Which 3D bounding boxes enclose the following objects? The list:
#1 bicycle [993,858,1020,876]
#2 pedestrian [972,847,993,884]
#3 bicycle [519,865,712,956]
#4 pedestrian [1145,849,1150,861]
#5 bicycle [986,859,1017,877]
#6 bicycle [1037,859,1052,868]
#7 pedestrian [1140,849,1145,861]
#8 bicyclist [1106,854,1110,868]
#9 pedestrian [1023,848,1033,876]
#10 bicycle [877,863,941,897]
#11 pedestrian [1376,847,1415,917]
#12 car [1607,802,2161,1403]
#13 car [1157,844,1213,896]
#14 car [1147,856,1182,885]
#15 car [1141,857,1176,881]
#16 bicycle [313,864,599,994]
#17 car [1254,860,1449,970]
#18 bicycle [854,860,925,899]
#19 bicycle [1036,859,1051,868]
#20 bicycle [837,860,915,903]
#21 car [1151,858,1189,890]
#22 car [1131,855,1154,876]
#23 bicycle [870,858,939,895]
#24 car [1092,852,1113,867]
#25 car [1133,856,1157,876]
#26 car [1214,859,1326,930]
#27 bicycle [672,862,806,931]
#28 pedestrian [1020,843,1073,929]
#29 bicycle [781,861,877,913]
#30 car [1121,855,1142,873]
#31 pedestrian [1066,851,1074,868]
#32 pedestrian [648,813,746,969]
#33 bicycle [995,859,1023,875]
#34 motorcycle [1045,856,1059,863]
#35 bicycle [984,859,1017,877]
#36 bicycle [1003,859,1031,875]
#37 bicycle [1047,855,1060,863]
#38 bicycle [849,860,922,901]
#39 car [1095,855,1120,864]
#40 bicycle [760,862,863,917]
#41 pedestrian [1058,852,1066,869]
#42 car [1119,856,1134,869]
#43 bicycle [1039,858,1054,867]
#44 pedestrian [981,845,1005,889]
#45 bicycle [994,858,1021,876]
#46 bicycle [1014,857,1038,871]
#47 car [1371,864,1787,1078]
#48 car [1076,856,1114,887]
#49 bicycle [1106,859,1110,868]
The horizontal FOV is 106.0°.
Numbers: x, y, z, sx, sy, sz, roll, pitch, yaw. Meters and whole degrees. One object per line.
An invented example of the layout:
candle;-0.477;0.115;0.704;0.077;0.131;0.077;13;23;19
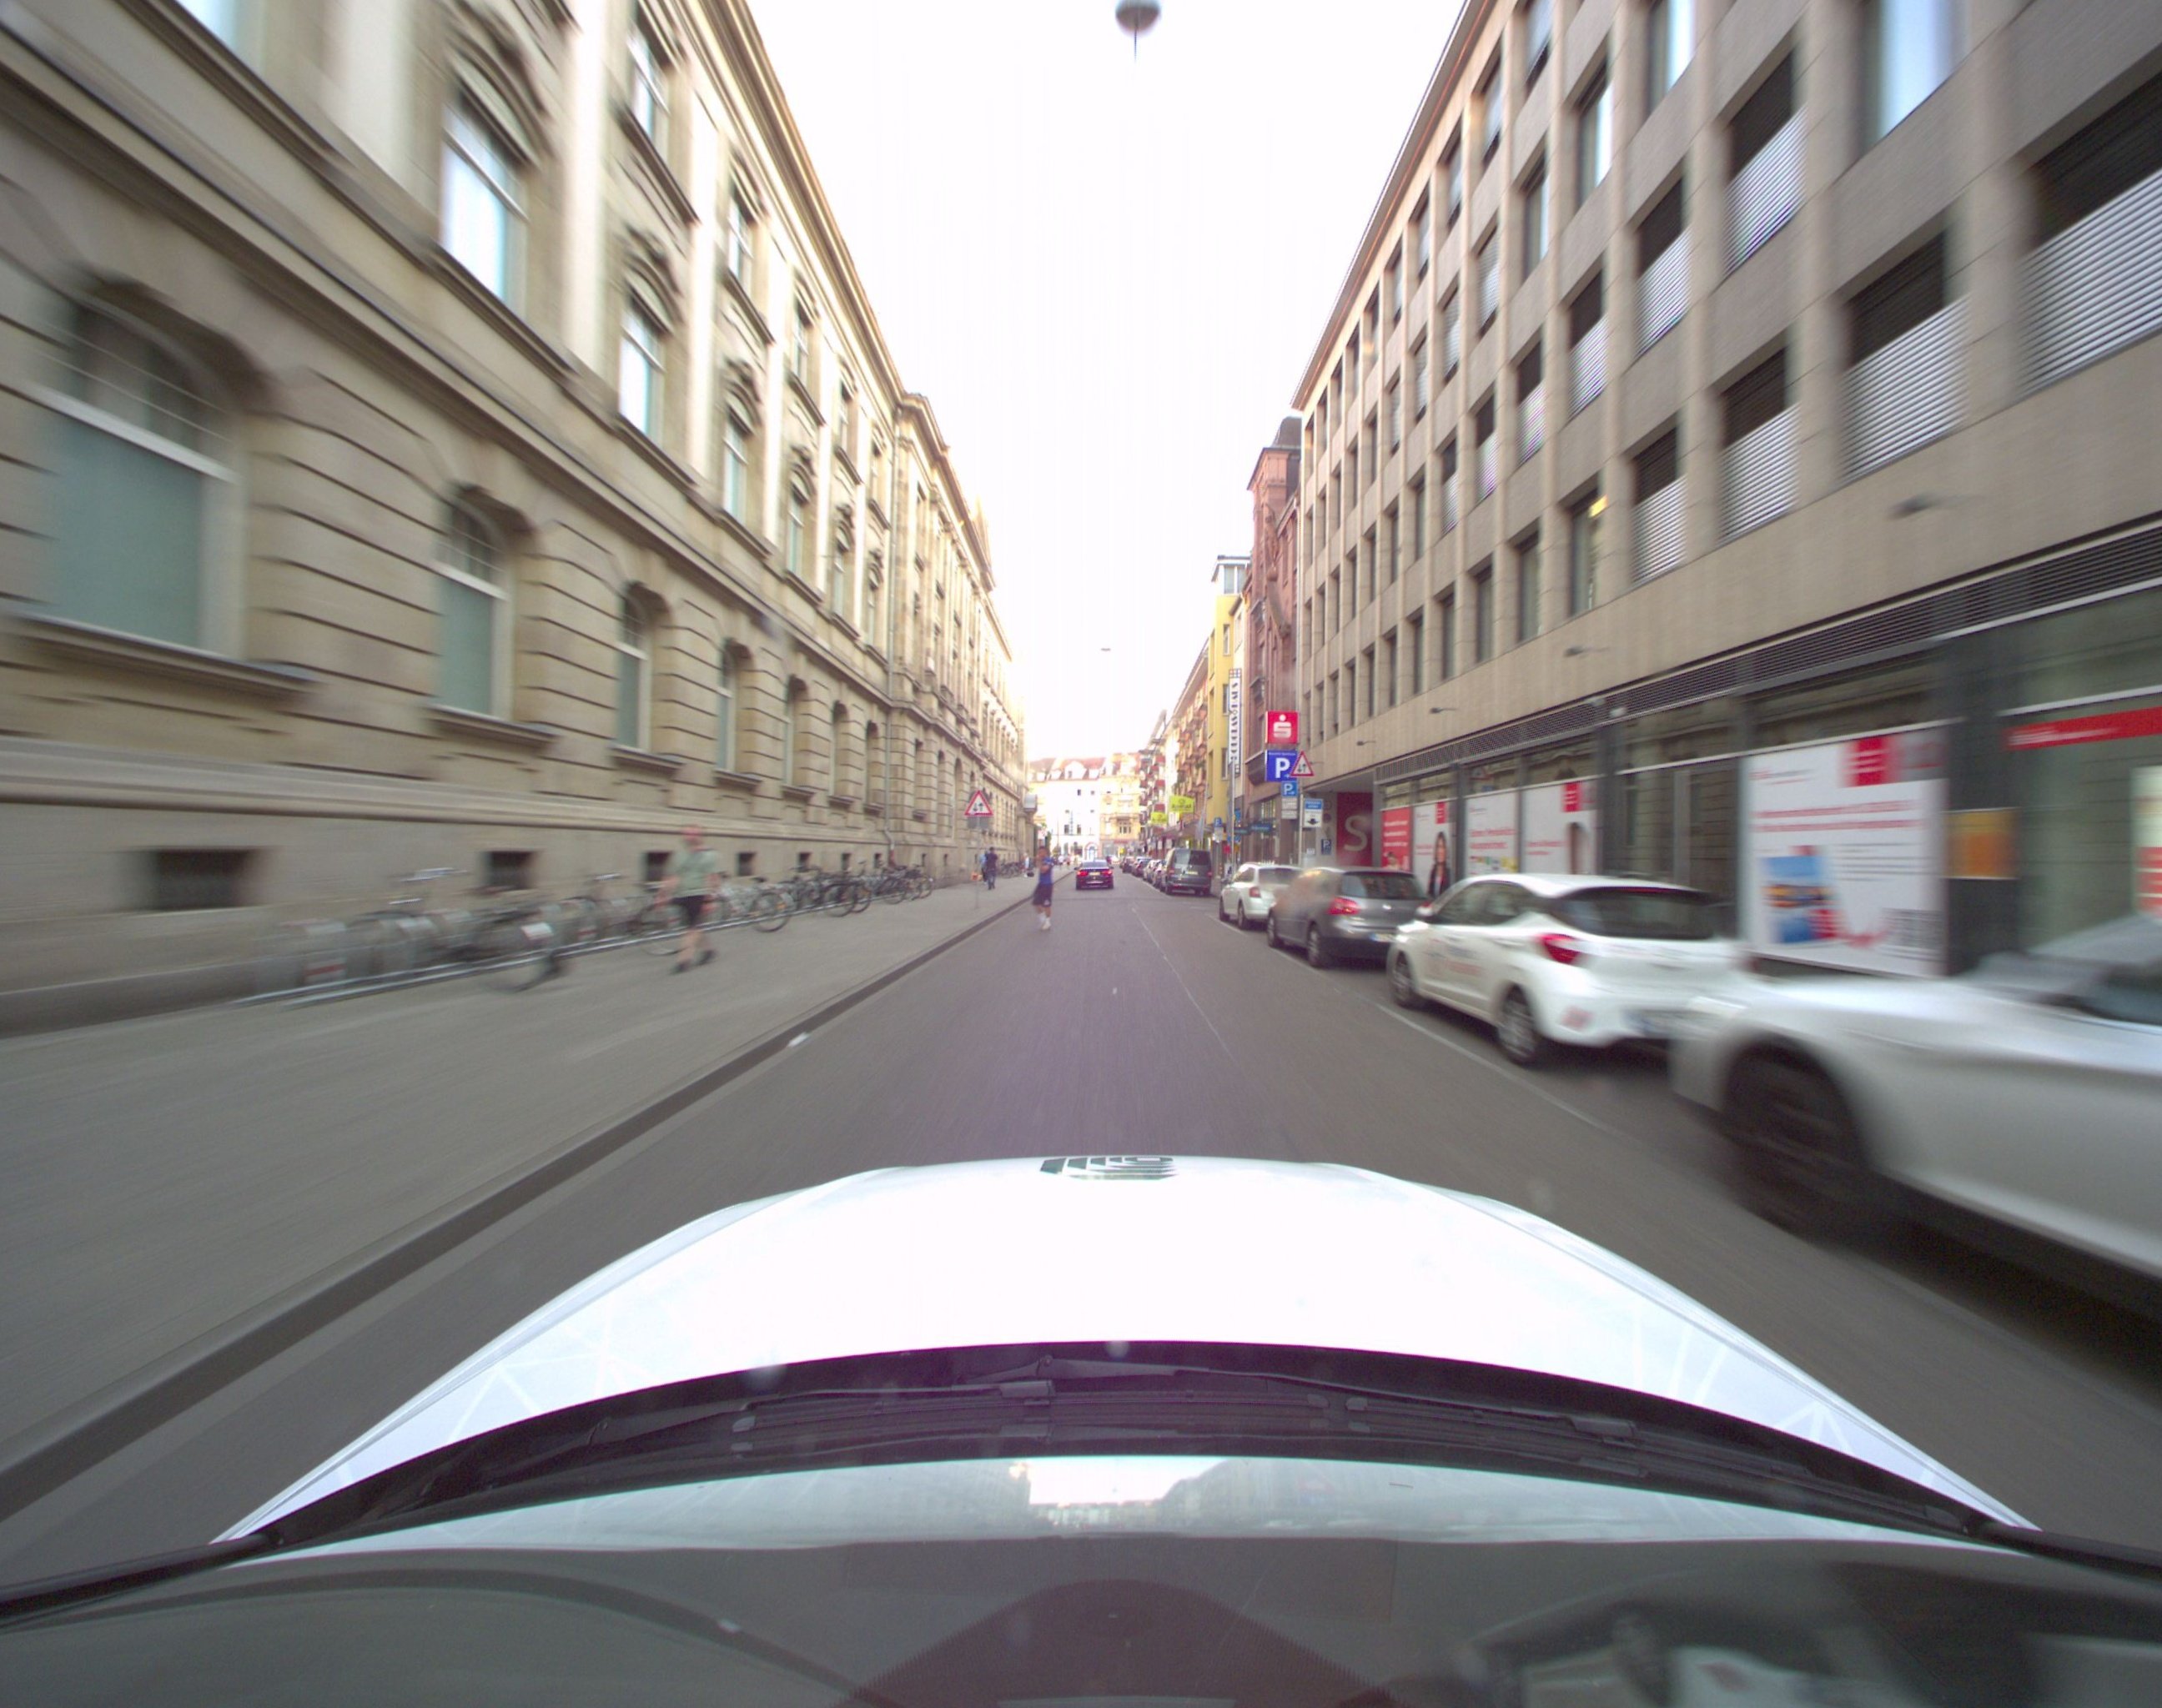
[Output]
bicycle;-4.977;0.880;54.464;1.791;1.108;0.499;2;-1;-5
pedestrian;-4.789;0.532;39.514;0.825;1.746;0.769;3;0;1
bicycle;-5.981;0.734;10.611;2.024;1.078;0.726;3;-1;-19
pedestrian;9.559;0.111;116.781;0.645;1.661;0.794;-2;-1;3
bicycle;-5.116;0.878;52.246;1.934;1.061;0.618;2;-1;-5
bicycle;-4.430;1.177;98.810;1.788;1.107;0.500;1;0;1
pedestrian;8.851;0.110;116.685;0.645;1.661;0.655;-2;-1;3
bicyclist;3.509;0.886;105.864;0.521;1.756;0.620;1;-1;2
pedestrian;-3.614;0.551;55.694;0.587;1.851;0.753;2;0;-4
bicycle;-5.618;0.842;26.639;1.931;1.046;0.721;2;0;-4
pedestrian;7.500;0.657;19.439;0.646;1.636;0.650;-1;0;0
car;3.900;0.712;2.204;1.771;1.666;4.811;2;-1;-1
car;4.526;0.683;36.143;1.840;2.058;5.054;2;-1;1
car;4.908;0.933;48.344;1.613;1.516;4.173;3;0;0
car;5.020;0.965;53.516;1.687;1.411;4.636;3;0;-1
bicycle;-5.854;0.691;7.736;2.015;1.109;0.729;3;-1;-6
car;4.135;0.844;13.235;1.651;1.448;4.444;2;-1;0
bicycle;-5.720;0.771;24.455;1.934;1.078;0.729;3;-1;-6
bicycle;-4.550;1.179;99.157;1.788;1.107;0.500;1;0;0
bicycle;-5.612;0.757;22.366;1.934;1.078;0.729;3;-1;-6
car;4.685;1.025;43.231;1.680;1.453;4.501;3;0;3
car;5.319;0.952;71.339;1.745;1.668;4.758;3;0;2
bicycle;-5.559;0.711;25.720;1.931;1.078;0.748;3;-1;0
car;2.246;0.555;82.335;1.868;1.473;4.006;0;0;5
car;5.174;0.967;66.370;1.685;1.414;4.758;3;0;2
car;4.313;0.871;19.208;1.651;1.448;4.308;2;-1;1
bicycle;-5.869;0.721;14.065;1.932;1.078;0.729;3;-1;-3
pedestrian;-0.739;0.661;17.489;0.825;1.789;0.769;0;0;-41
bicycle;-5.767;0.748;18.743;1.934;1.078;0.729;3;-1;-6
car;5.014;0.976;80.492;1.785;1.610;4.493;3;0;6
pedestrian;-1.219;0.613;91.925;0.741;1.893;1.051;2;0;2
pedestrian;-4.621;0.433;9.851;0.714;1.780;0.801;2;0;1
bicycle;-4.978;0.918;56.478;1.934;1.061;0.618;2;-1;-5
motorcycle;-4.165;0.777;116.190;1.783;1.064;0.769;2;0;27
bicycle;-5.025;0.885;50.996;1.931;1.061;0.619;2;-1;0
bicycle;-4.525;0.936;57.516;1.931;1.061;0.619;2;-1;-1
bicycle;-3.999;0.745;118.895;1.791;1.107;0.499;2;0;-4
bicycle;-5.667;0.764;23.683;1.934;1.078;0.729;3;-1;-6
car;5.071;1.040;154.183;4.313;1.562;1.879;0;-1;23
bicycle;-5.777;0.749;17.553;1.934;1.078;0.729;3;-1;-6
pedestrian;-2.118;0.718;91.650;0.738;1.812;1.009;3;0;1
car;6.093;1.147;110.076;1.758;1.642;4.792;3;0;1
bicycle;-4.317;1.035;101.332;1.786;1.107;0.501;1;0;4
pedestrian;-3.659;0.538;33.840;0.806;1.750;0.969;2;-1;1
bicycle;-5.002;0.886;55.664;1.791;1.108;0.499;2;-1;-5
bicycle;-4.736;0.858;70.387;1.939;1.061;0.617;4;-1;-14
car;4.204;0.849;7.686;1.650;1.448;3.870;2;-1;2
car;0.719;0.843;40.370;1.758;1.375;4.792;1;0;2
bicycle;3.503;1.240;105.884;0.534;1.107;1.801;1;0;3
